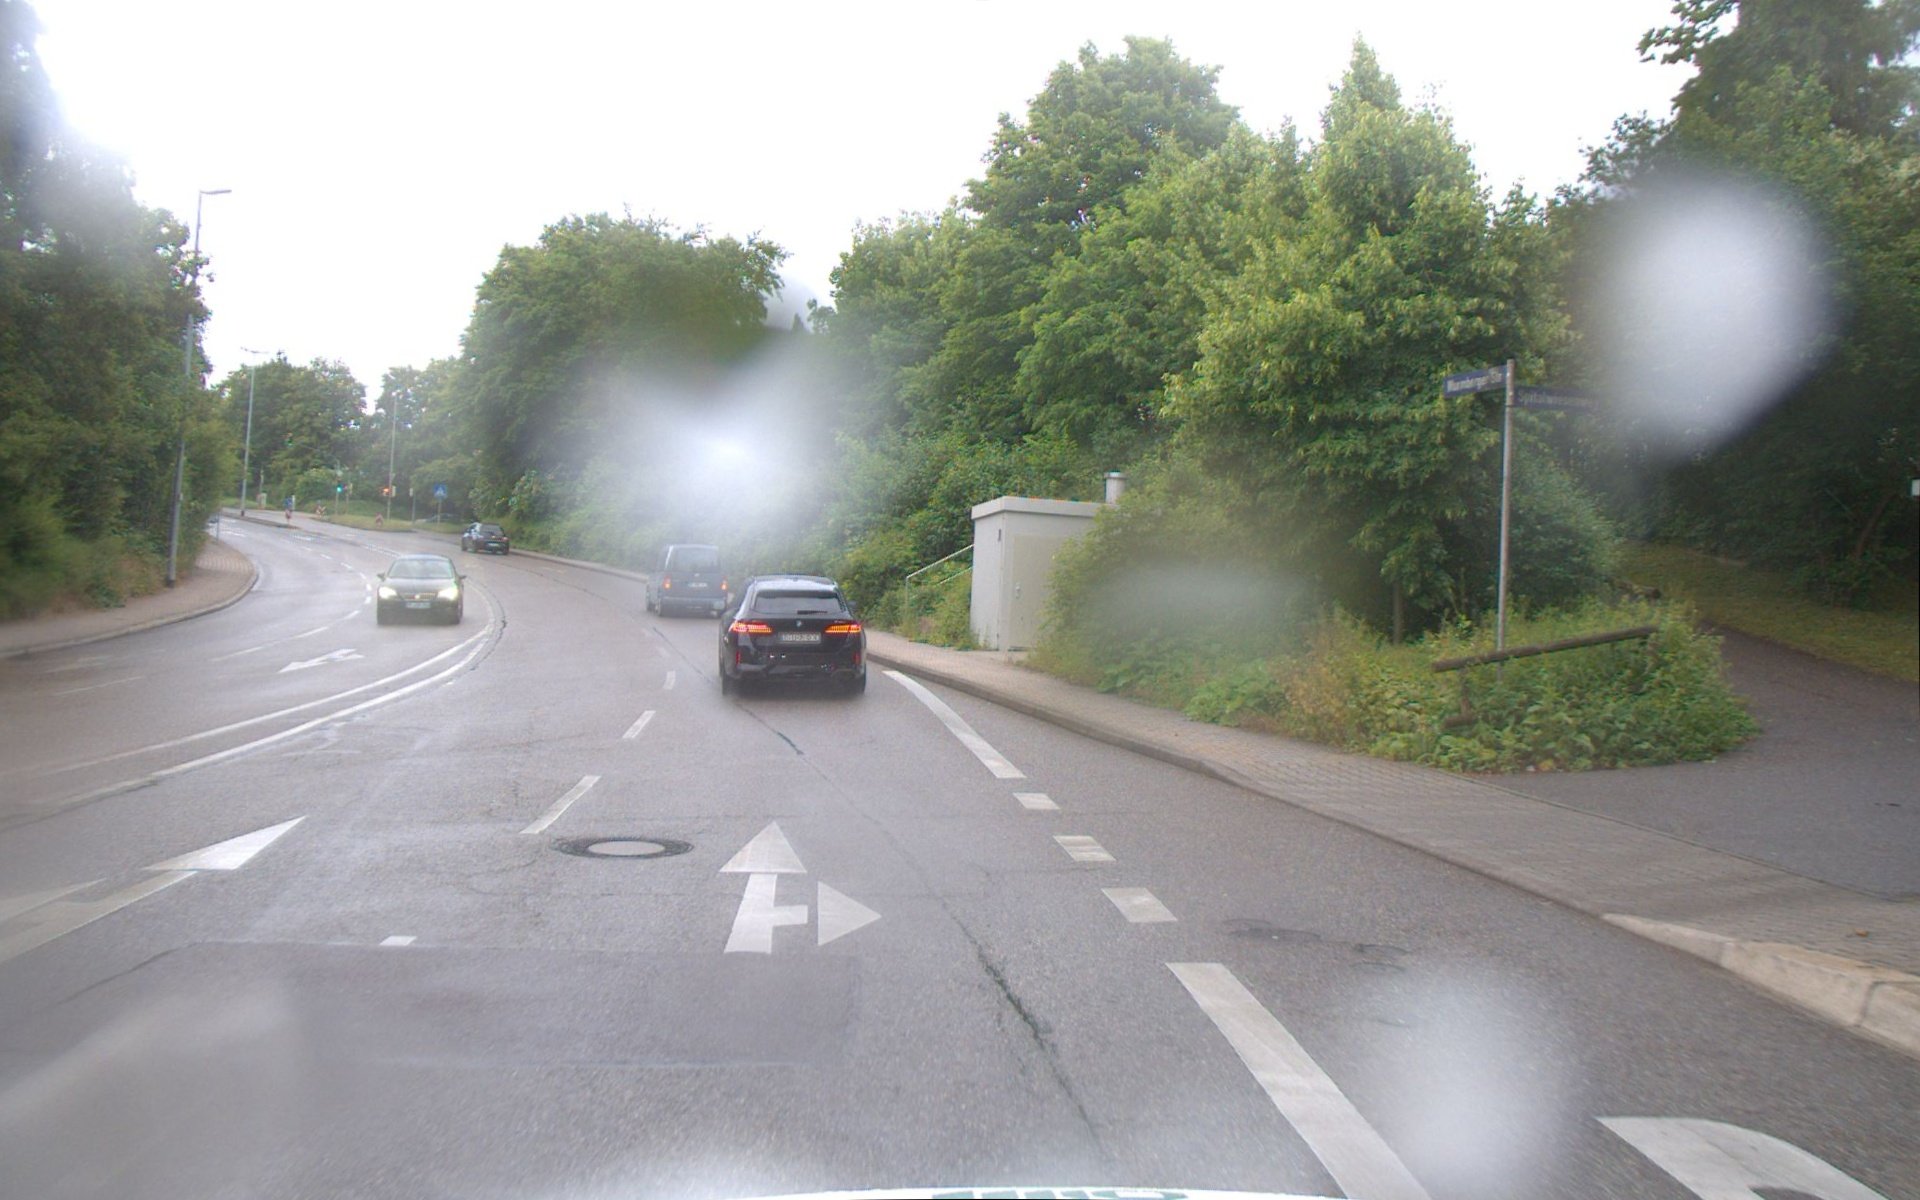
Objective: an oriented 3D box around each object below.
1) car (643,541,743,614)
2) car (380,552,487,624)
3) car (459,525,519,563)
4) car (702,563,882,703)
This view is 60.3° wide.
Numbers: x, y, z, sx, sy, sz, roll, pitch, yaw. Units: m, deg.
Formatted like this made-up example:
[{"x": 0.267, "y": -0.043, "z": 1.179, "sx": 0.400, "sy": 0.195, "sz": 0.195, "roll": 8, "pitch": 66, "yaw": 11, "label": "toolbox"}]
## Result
[{"x": -7.020, "y": -0.601, "z": 43.199, "sx": 1.963, "sy": 1.779, "sz": 3.980, "roll": 1, "pitch": 1, "yaw": -18, "label": "car"}, {"x": -11.851, "y": -0.284, "z": 37.444, "sx": 1.859, "sy": 1.513, "sz": 4.221, "roll": 1, "pitch": 0, "yaw": -12, "label": "car"}, {"x": -23.120, "y": -2.710, "z": 81.091, "sx": 1.833, "sy": 1.691, "sz": 3.958, "roll": 3, "pitch": -1, "yaw": -31, "label": "car"}, {"x": -2.389, "y": 0.359, "z": 22.369, "sx": 1.958, "sy": 1.613, "sz": 4.651, "roll": 3, "pitch": 1, "yaw": -11, "label": "car"}]
